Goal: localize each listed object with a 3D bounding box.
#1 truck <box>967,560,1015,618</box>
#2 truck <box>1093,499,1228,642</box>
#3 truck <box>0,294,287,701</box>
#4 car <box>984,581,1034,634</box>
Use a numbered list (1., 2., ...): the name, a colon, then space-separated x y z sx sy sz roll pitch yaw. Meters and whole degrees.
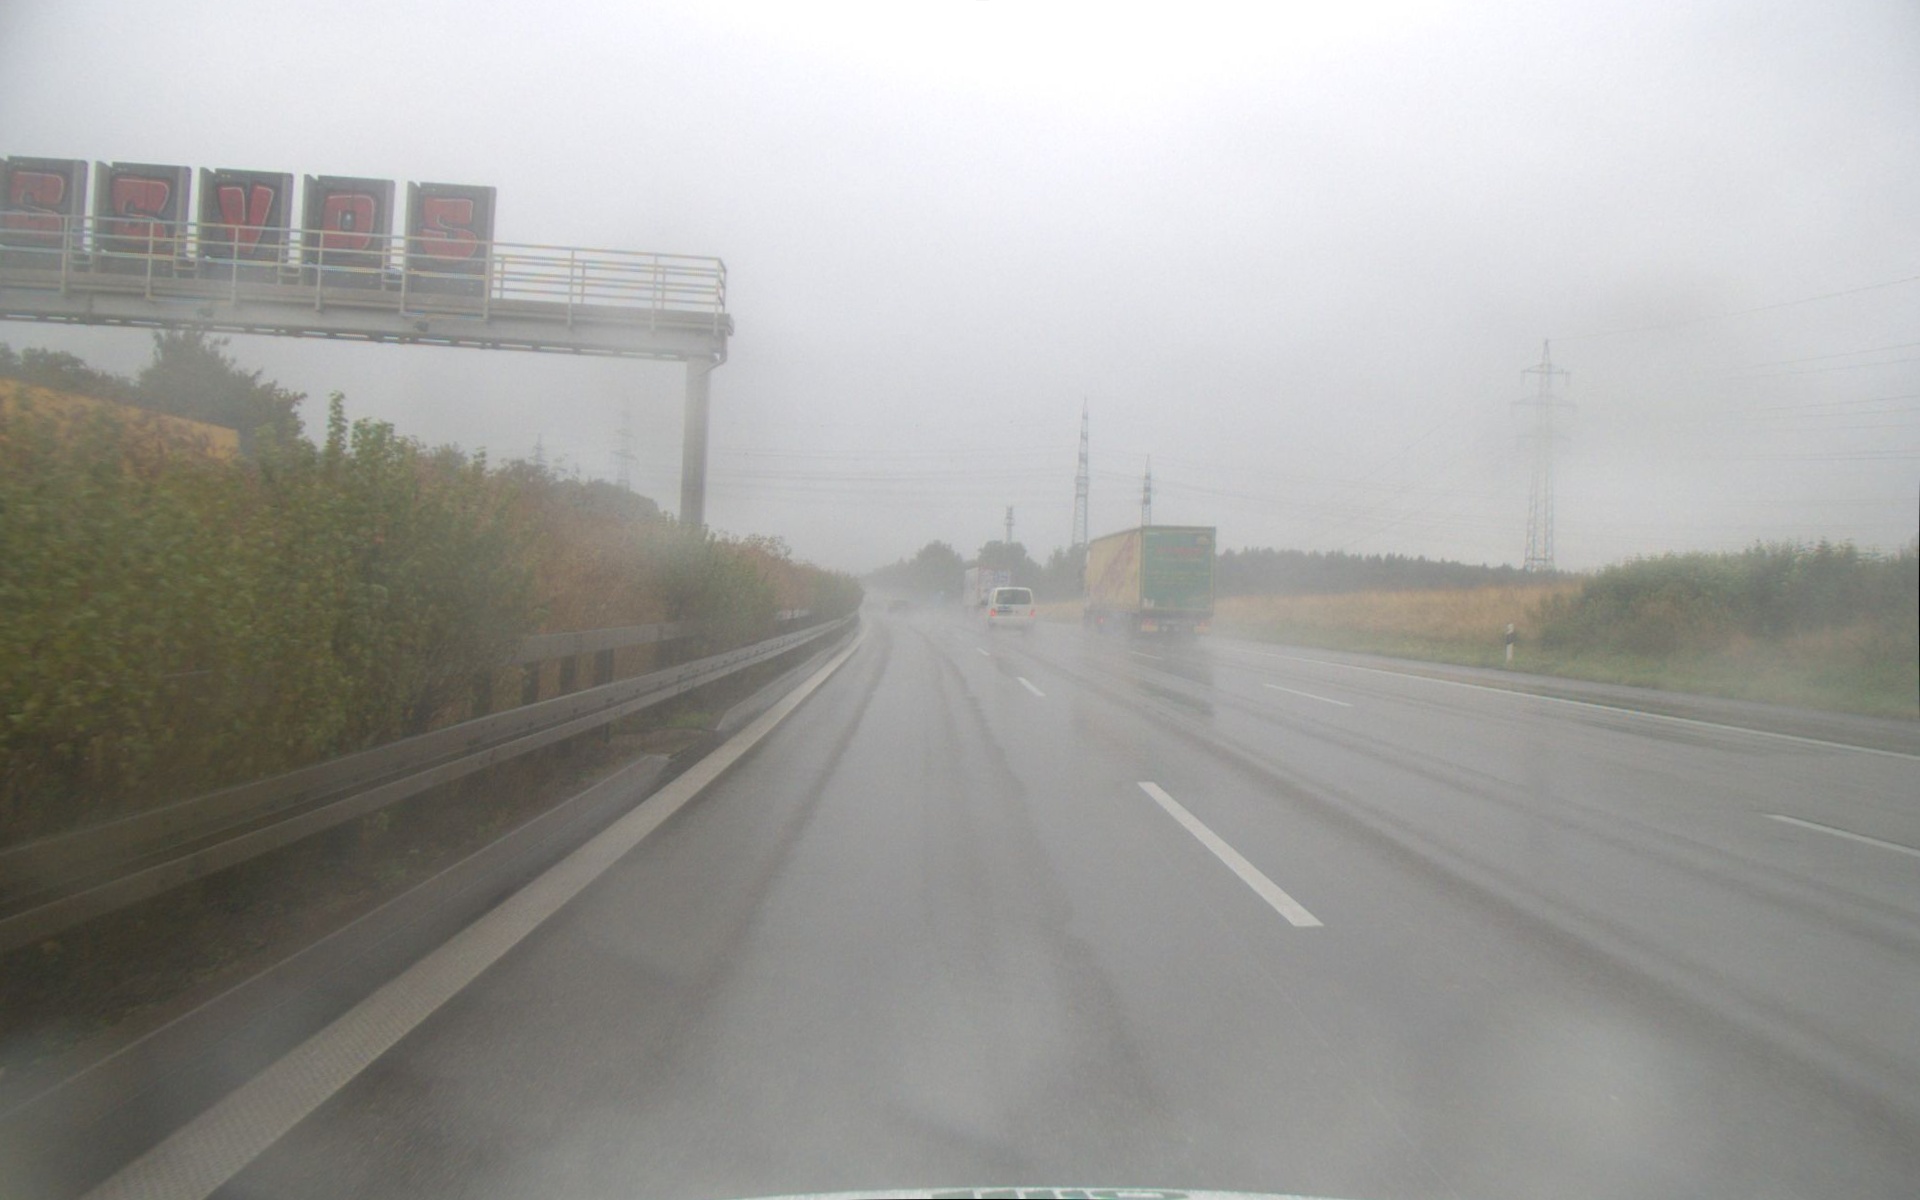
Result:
1. truck: 2.401 -0.878 131.620 3.168 4.386 8.831 1 1 -3
2. truck: 7.369 -0.993 63.487 4.101 4.711 16.112 1 0 3
3. truck: -14.445 -1.311 20.336 4.608 5.132 18.231 1 1 1
4. car: 2.019 0.277 67.596 1.952 2.049 4.002 1 1 3
